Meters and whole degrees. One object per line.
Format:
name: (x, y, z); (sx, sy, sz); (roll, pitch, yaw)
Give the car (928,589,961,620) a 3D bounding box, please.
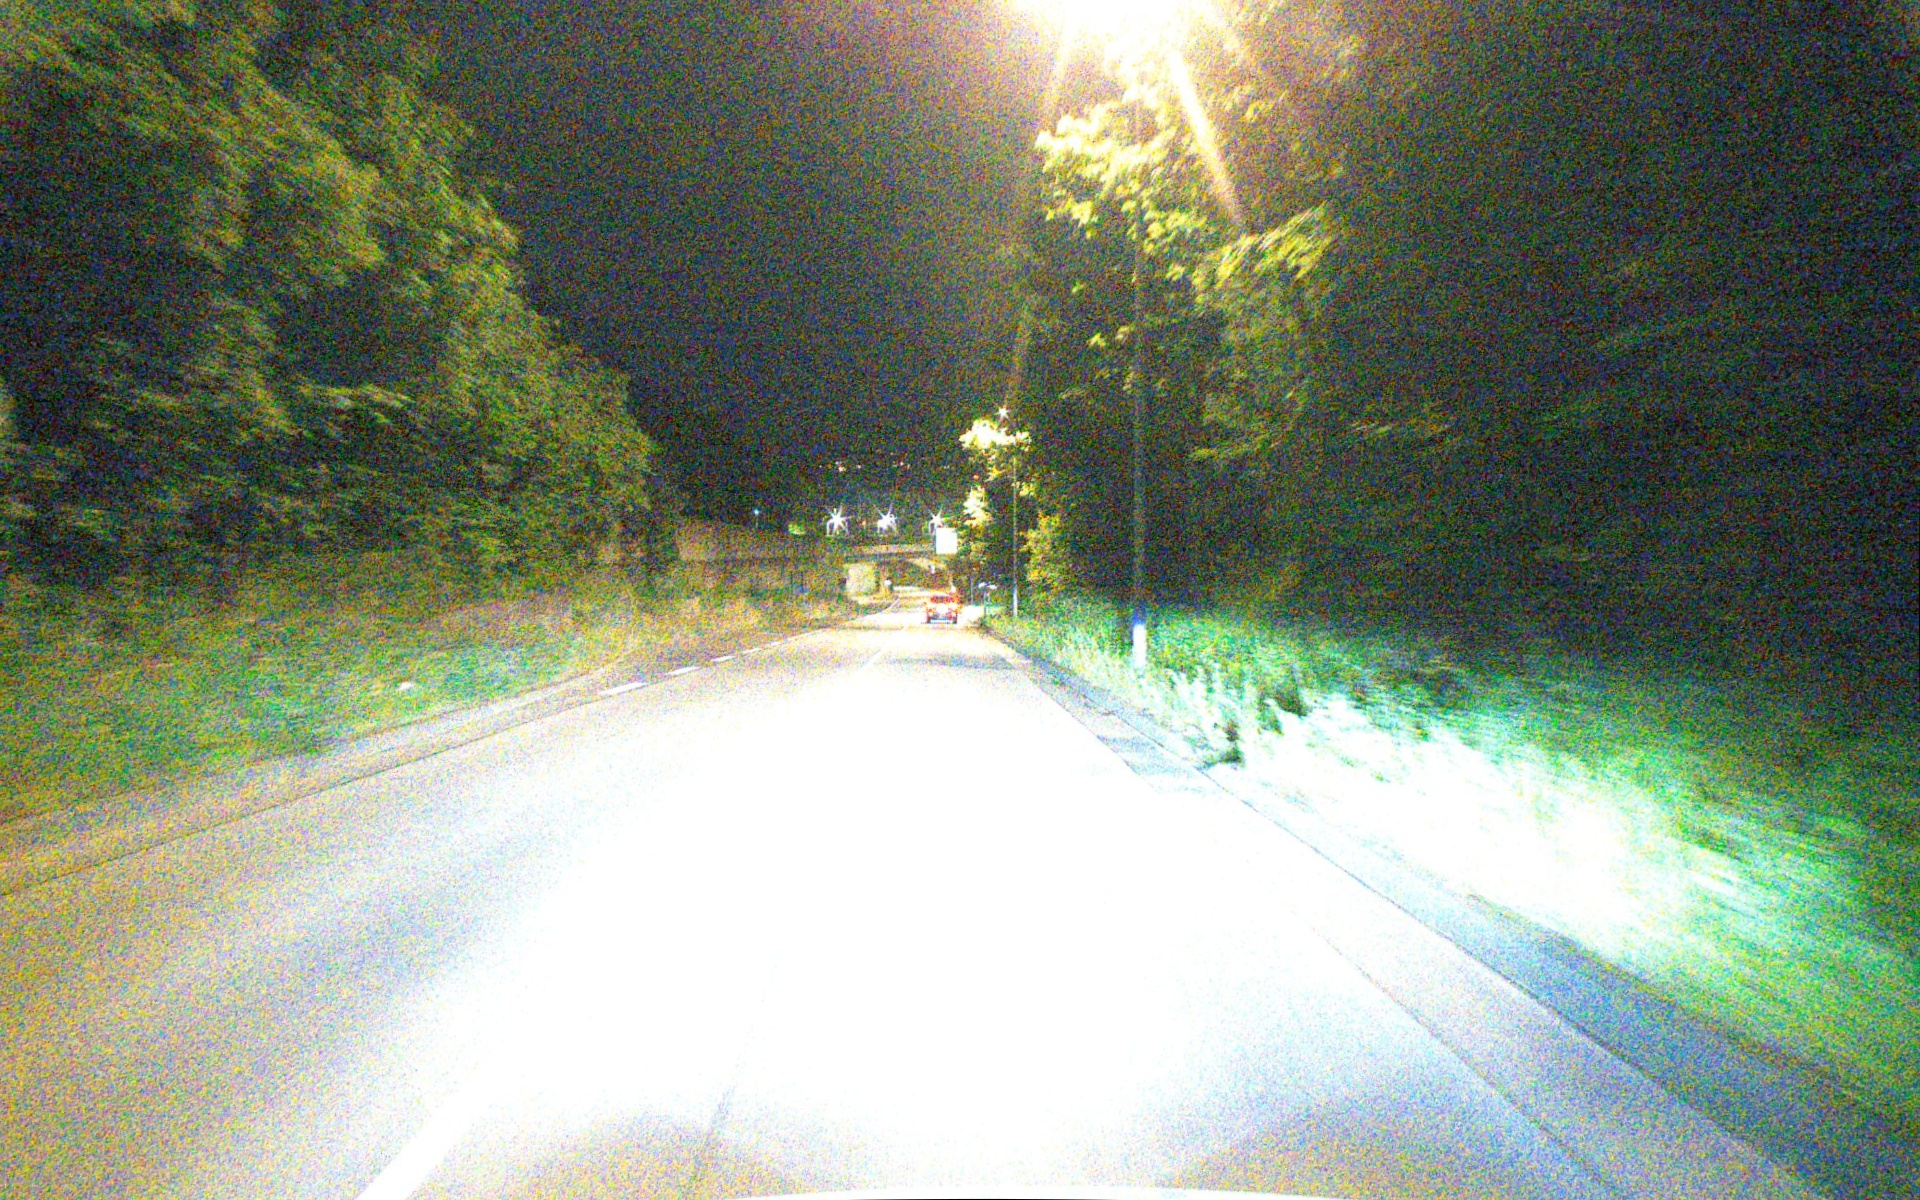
car: (-0.850, 0.251, 93.611); (1.726, 1.670, 3.724); (1, 1, 2)
